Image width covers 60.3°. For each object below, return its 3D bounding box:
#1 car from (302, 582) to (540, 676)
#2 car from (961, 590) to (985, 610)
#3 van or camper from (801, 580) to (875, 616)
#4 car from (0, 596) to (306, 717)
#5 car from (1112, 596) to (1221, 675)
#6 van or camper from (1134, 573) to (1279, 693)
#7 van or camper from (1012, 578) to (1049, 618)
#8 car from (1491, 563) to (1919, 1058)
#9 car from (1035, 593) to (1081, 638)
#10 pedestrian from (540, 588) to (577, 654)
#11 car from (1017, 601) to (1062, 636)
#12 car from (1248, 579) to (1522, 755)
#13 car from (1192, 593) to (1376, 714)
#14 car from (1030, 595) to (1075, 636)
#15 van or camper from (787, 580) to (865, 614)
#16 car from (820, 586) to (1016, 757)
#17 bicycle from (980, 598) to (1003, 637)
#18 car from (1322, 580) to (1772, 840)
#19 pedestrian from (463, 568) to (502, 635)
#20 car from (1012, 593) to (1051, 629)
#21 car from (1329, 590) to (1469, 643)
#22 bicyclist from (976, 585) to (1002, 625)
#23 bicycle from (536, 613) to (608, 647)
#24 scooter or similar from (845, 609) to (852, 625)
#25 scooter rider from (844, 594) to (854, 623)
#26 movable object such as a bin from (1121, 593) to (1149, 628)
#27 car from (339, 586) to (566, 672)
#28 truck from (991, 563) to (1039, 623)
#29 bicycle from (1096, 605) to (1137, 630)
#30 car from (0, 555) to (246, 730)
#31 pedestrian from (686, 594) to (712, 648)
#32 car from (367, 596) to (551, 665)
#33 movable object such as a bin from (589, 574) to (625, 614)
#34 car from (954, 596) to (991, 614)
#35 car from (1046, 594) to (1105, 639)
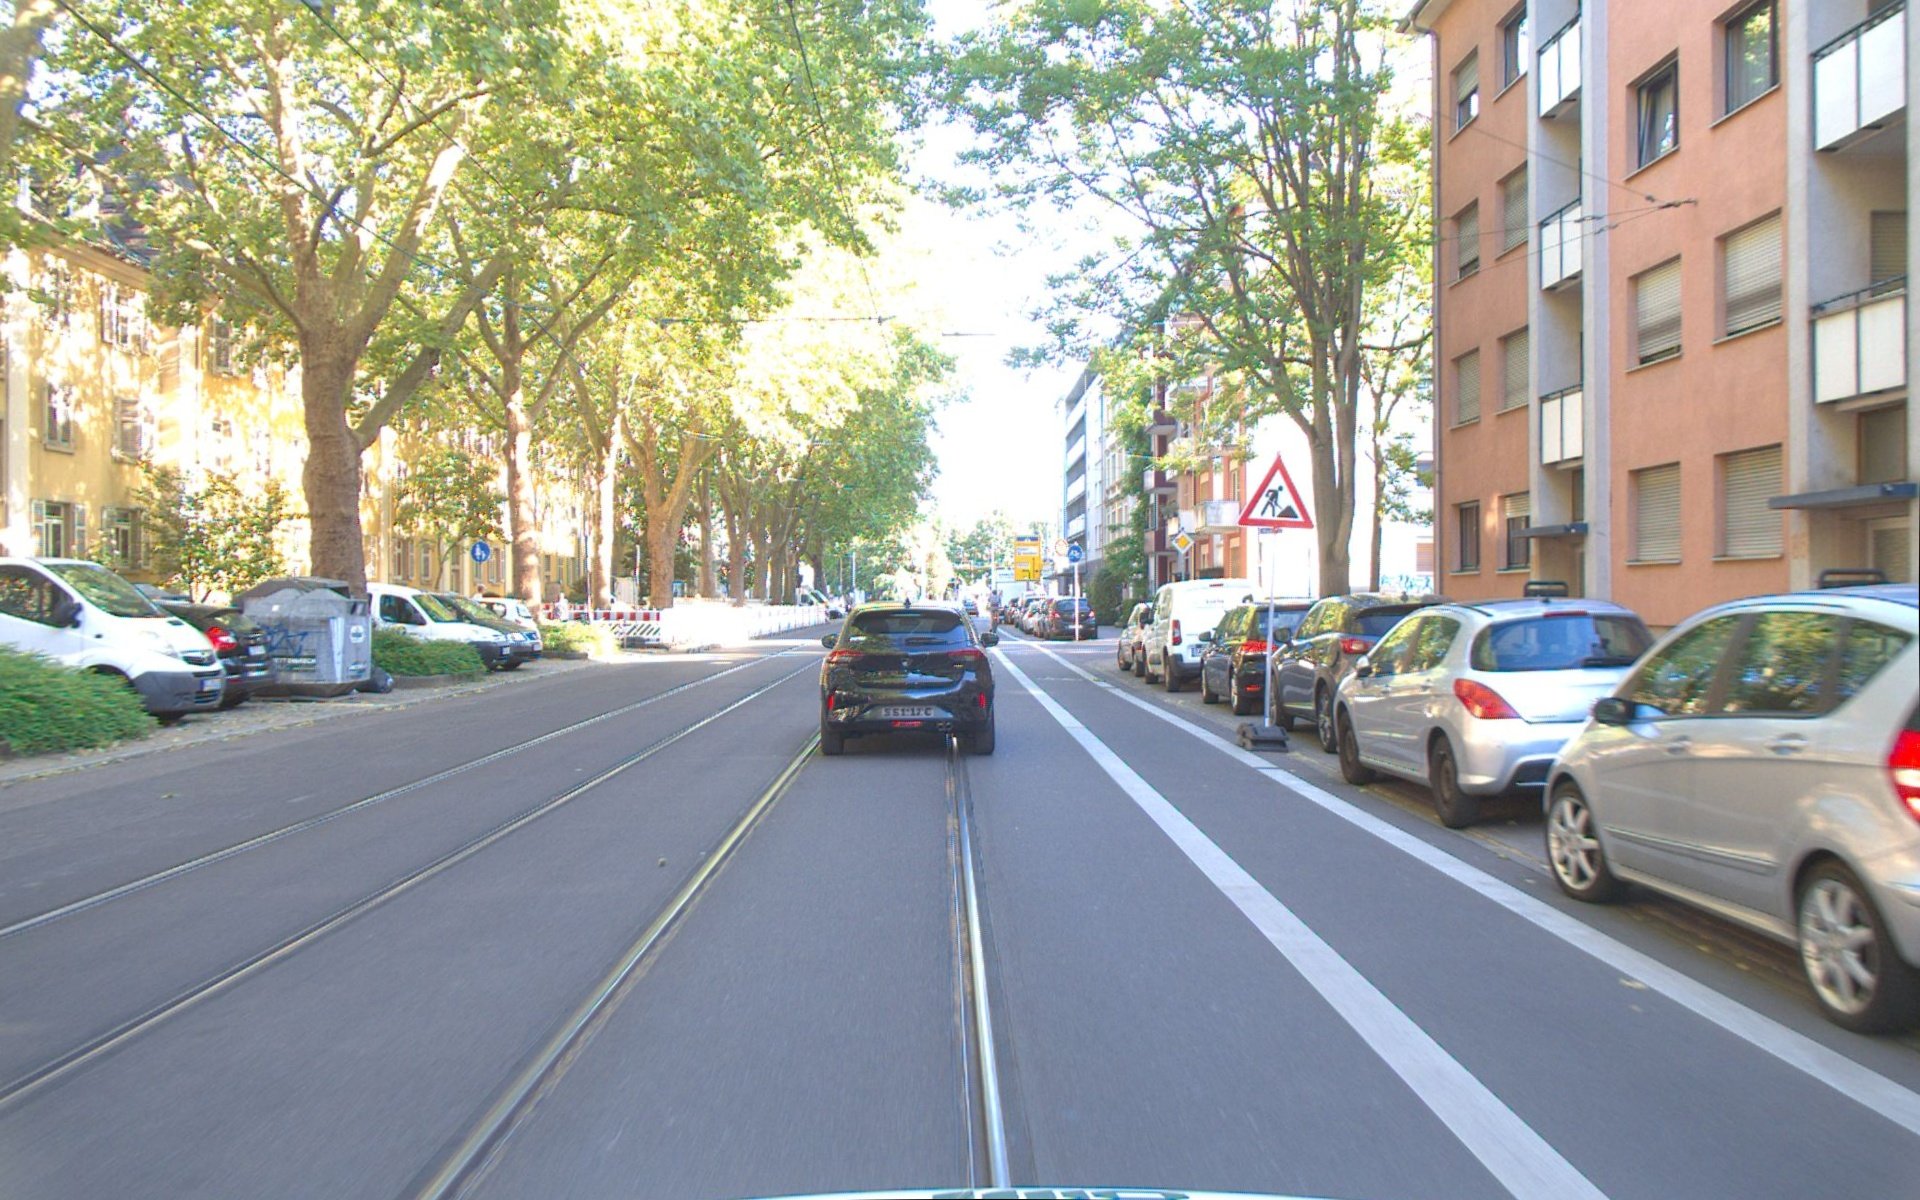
[{"bbox_3d":[-10.593,0.555,32.707,4.112,1.788,1.740,0,0,0],"label":"car"},{"bbox_3d":[1.121,-0.007,146.216,1.953,1.725,4.739,-2,0,-1],"label":"car"},{"bbox_3d":[-9.568,-0.135,130.130,5.607,2.690,2.269,1,-1,0],"label":"van or camper"},{"bbox_3d":[-11.137,0.730,22.416,3.769,1.524,1.862,-1,0,-1],"label":"car"},{"bbox_3d":[4.164,0.675,33.945,1.671,1.498,3.999,-1,0,-1],"label":"car"},{"bbox_3d":[4.170,0.513,28.712,1.719,1.897,4.829,-1,0,-1],"label":"van or camper"},{"bbox_3d":[3.506,-0.099,82.574,1.635,1.915,4.210,-1,0,0],"label":"van or camper"},{"bbox_3d":[4.059,0.678,7.582,1.756,1.656,4.275,-2,0,-1],"label":"car"},{"bbox_3d":[3.683,0.573,62.444,1.495,1.618,3.751,1,0,0],"label":"car"},{"bbox_3d":[-10.944,0.566,45.094,0.805,1.776,0.796,1,-1,-1],"label":"pedestrian"},{"bbox_3d":[3.483,0.790,72.854,1.626,1.424,4.739,-2,0,-1],"label":"car"},{"bbox_3d":[4.410,0.625,17.867,1.732,1.599,4.336,-2,0,-1],"label":"car"},{"bbox_3d":[4.384,0.662,22.946,1.671,1.498,4.167,-1,0,-1],"label":"car"},{"bbox_3d":[3.729,0.617,67.157,1.559,1.553,3.835,-2,0,0],"label":"car"},{"bbox_3d":[-9.764,-0.198,120.722,5.387,2.421,2.270,1,-1,3],"label":"van or camper"},{"bbox_3d":[-0.408,0.632,16.782,1.745,1.522,3.999,0,0,-1],"label":"car"},{"bbox_3d":[1.332,0.719,70.124,0.897,1.588,3.404,0,0,0],"label":"bicycle"},{"bbox_3d":[4.138,0.680,12.485,1.752,1.548,4.321,-2,0,-1],"label":"car"},{"bbox_3d":[-12.941,0.048,44.825,0.805,1.776,0.796,1,-1,-1],"label":"pedestrian"},{"bbox_3d":[3.356,0.488,77.888,1.626,1.608,3.588,-1,0,0],"label":"car"},{"bbox_3d":[13.296,0.490,50.247,3.834,1.508,1.561,0,3,-2],"label":"car"},{"bbox_3d":[1.240,0.223,70.093,1.067,1.676,1.400,0,0,0],"label":"bicyclist"},{"bbox_3d":[-11.405,0.881,48.642,1.931,0.979,0.726,0,0,0],"label":"bicycle"},{"bbox_3d":[-7.520,1.153,111.609,0.399,1.102,1.338,1,-1,0],"label":"scooter or similar"},{"bbox_3d":[-7.472,0.568,111.591,0.636,1.991,0.624,1,-1,0],"label":"scooter rider"},{"bbox_3d":[6.988,0.428,66.122,0.905,1.350,1.681,1,0,0],"label":"movable object such as a bin"},{"bbox_3d":[-10.674,0.592,34.957,4.144,1.717,1.934,-1,0,6],"label":"car"},{"bbox_3d":[3.283,-0.381,100.015,2.486,3.396,7.194,-3,0,0],"label":"truck"},{"bbox_3d":[7.256,0.803,76.597,1.854,1.047,0.476,-2,0,4],"label":"bicycle"},{"bbox_3d":[-11.181,0.474,19.591,4.565,1.979,1.960,0,0,-4],"label":"car"},{"bbox_3d":[-8.326,0.668,52.754,0.702,1.698,0.778,1,-1,0],"label":"pedestrian"},{"bbox_3d":[-11.805,0.700,39.125,3.769,1.524,1.862,-1,0,-1],"label":"car"},{"bbox_3d":[-17.232,-0.279,80.800,1.306,1.901,2.007,1,-1,-1],"label":"movable object such as a bin"},{"bbox_3d":[1.332,0.554,178.672,1.901,1.725,4.267,-2,0,-36],"label":"car"},{"bbox_3d":[4.066,0.562,58.555,1.698,1.487,3.915,-2,0,-1],"label":"car"}]
